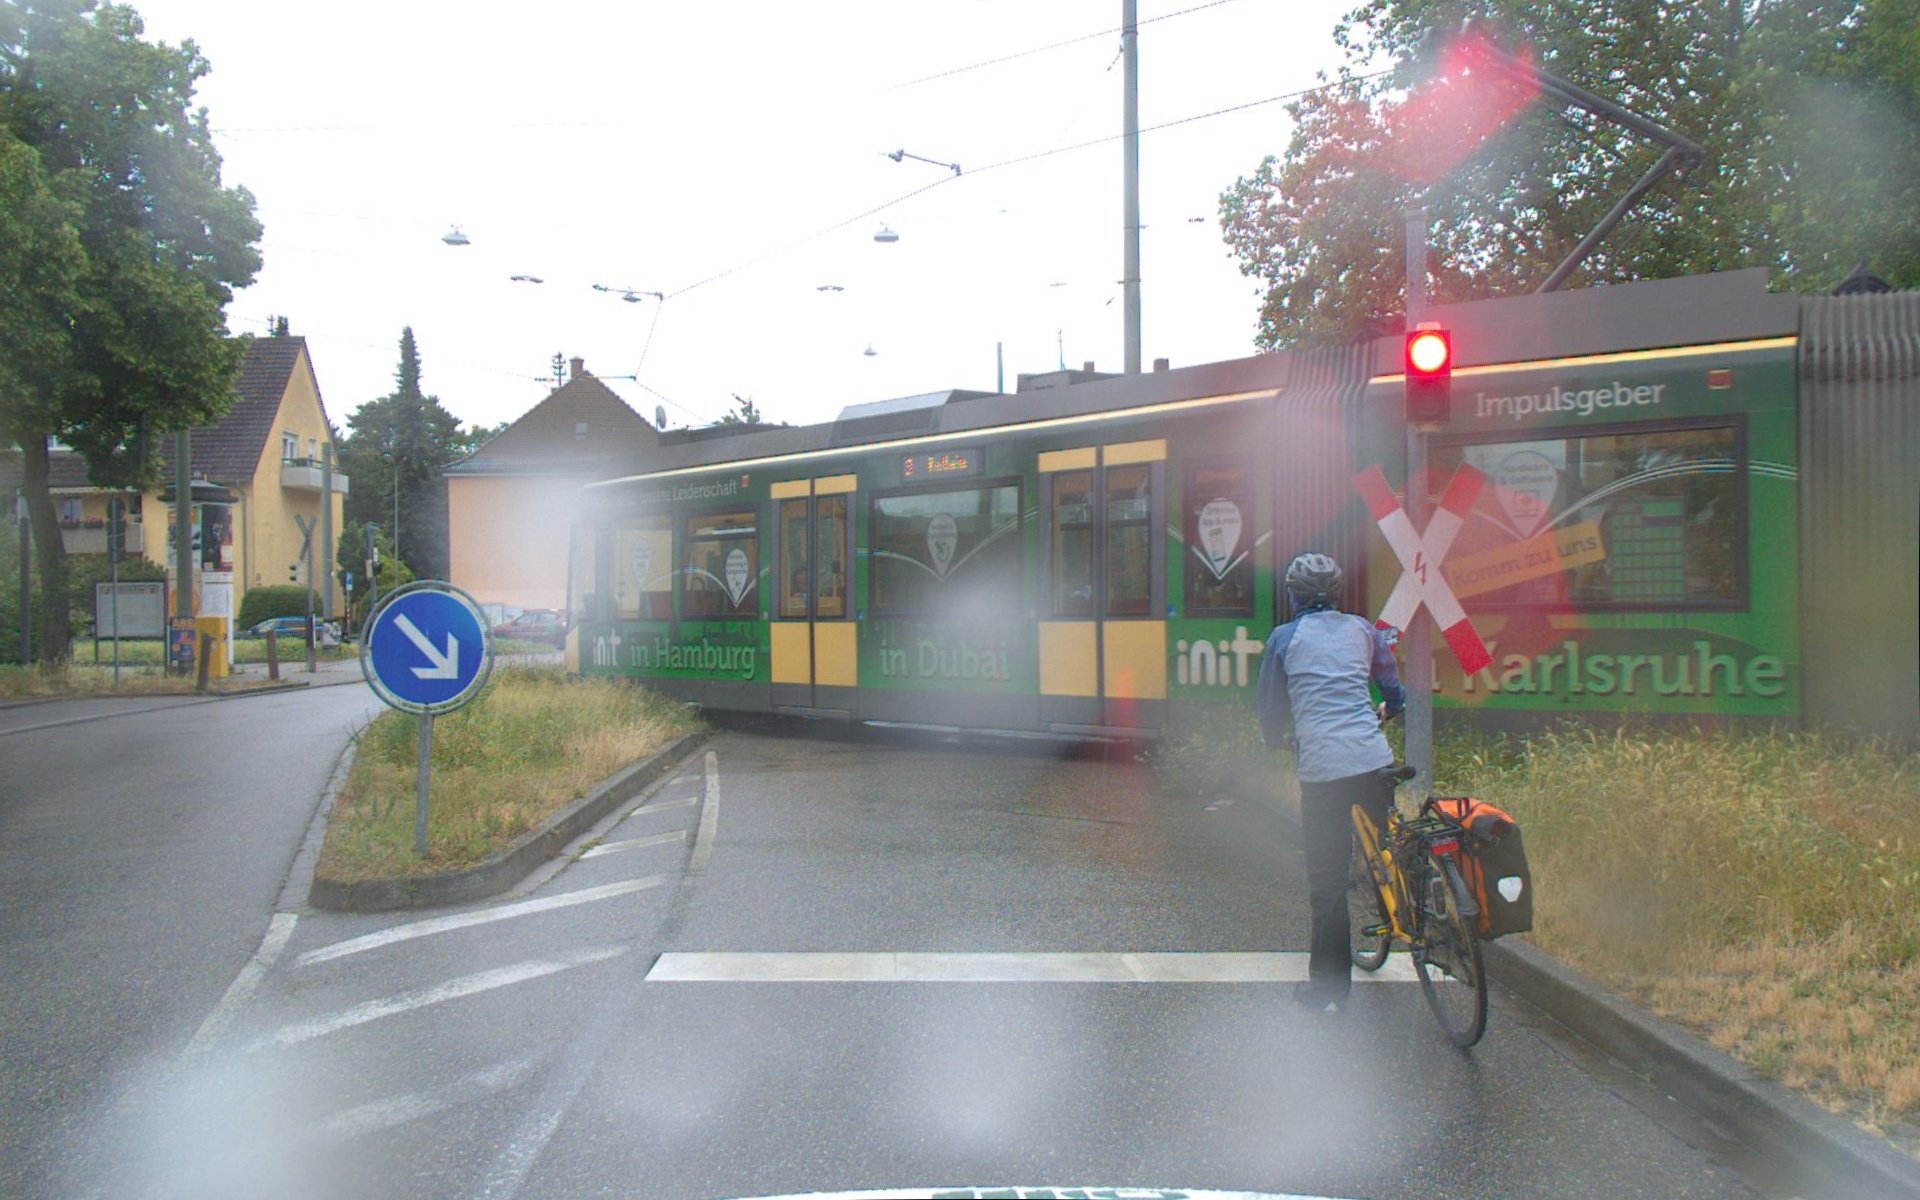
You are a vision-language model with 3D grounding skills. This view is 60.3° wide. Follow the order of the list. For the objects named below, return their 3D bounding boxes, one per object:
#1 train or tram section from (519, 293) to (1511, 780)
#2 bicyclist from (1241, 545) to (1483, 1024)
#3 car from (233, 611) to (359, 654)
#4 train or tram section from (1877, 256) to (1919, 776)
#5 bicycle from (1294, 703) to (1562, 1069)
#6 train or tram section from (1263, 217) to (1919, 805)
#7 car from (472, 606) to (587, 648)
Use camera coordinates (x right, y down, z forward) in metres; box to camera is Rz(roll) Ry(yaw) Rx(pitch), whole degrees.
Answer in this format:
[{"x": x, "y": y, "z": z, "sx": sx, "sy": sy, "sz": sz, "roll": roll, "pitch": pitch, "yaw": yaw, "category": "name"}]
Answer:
[{"x": -0.587, "y": -0.409, "z": 18.075, "sx": 2.745, "sy": 3.615, "sz": 12.934, "roll": -1, "pitch": 0, "yaw": -41, "category": "train or tram section"}, {"x": 1.471, "y": 0.645, "z": 6.172, "sx": 0.653, "sy": 1.654, "sz": 0.852, "roll": 1, "pitch": -1, "yaw": -2, "category": "bicyclist"}, {"x": -24.440, "y": 1.199, "z": 60.956, "sx": 3.911, "sy": 1.482, "sz": 1.831, "roll": 1, "pitch": 0, "yaw": -7, "category": "car"}, {"x": 12.286, "y": -0.680, "z": 9.484, "sx": 11.909, "sy": 3.615, "sz": 2.771, "roll": -1, "pitch": 0, "yaw": 19, "category": "train or tram section"}, {"x": 1.650, "y": 0.955, "z": 6.074, "sx": 0.437, "sy": 1.022, "sz": 1.727, "roll": -1, "pitch": 1, "yaw": -2, "category": "bicycle"}, {"x": 5.107, "y": -0.531, "z": 12.351, "sx": 4.883, "sy": 3.615, "sz": 2.762, "roll": -1, "pitch": 0, "yaw": 33, "category": "train or tram section"}, {"x": -16.185, "y": 1.017, "z": 62.327, "sx": 3.911, "sy": 1.482, "sz": 1.831, "roll": 1, "pitch": 0, "yaw": -7, "category": "car"}]
